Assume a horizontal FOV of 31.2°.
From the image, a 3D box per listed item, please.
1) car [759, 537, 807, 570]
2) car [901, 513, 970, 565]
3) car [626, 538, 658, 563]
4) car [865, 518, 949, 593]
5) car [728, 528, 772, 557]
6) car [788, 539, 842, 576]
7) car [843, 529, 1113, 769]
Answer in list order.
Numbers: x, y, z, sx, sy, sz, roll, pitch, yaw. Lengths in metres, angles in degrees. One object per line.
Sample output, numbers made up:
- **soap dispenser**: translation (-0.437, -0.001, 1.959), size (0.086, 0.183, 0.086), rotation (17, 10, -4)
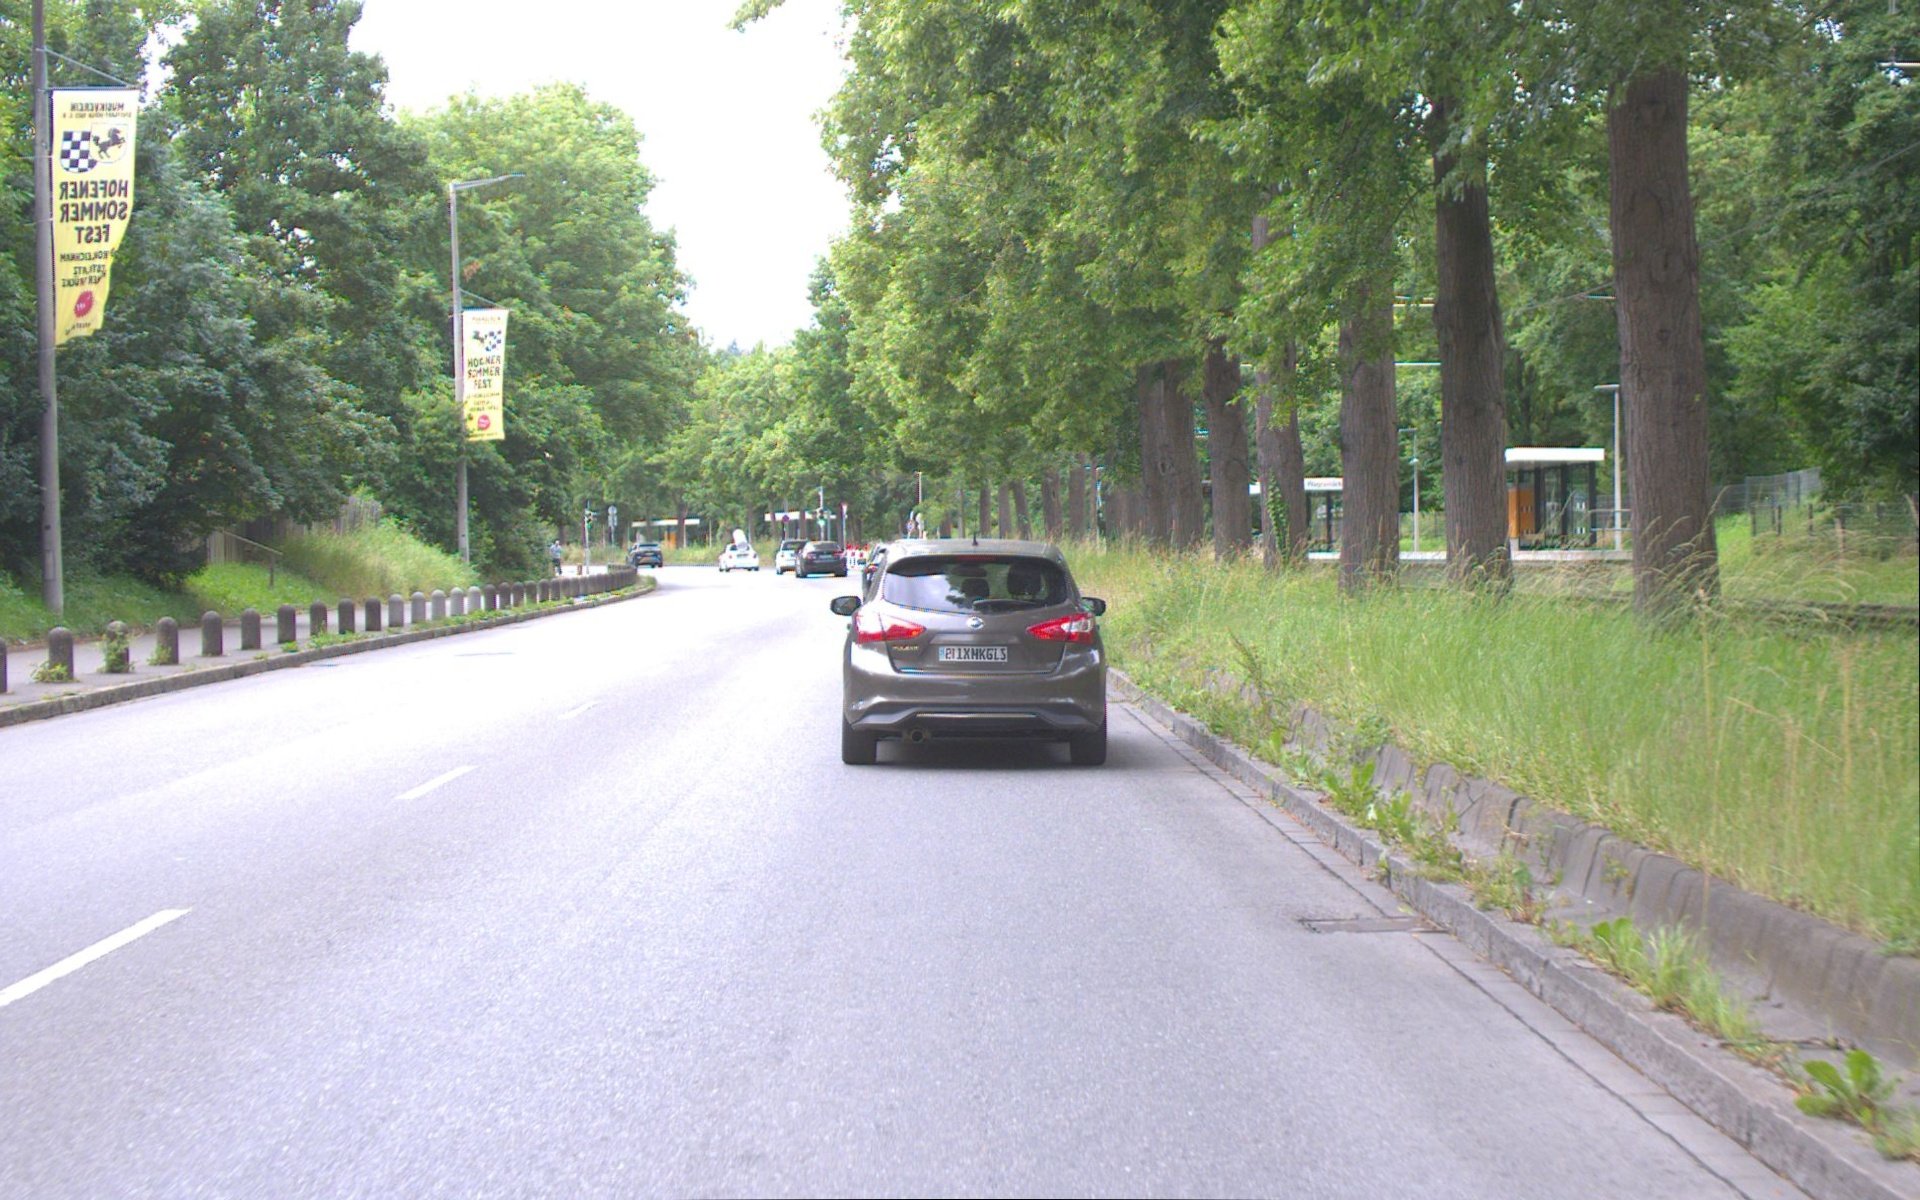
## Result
- **car**: translation (-7.935, -2.083, 153.909), size (1.561, 1.436, 3.553), rotation (0, 1, -12)
- **car**: translation (-0.716, -1.742, 98.198), size (1.561, 1.436, 3.552), rotation (1, 1, -7)
- **car**: translation (-19.367, -3.025, 209.407), size (1.561, 1.436, 3.553), rotation (0, 1, -11)
- **car**: translation (-1.141, -0.949, 72.777), size (1.730, 1.532, 3.552), rotation (1, 1, -1)
- **car**: translation (-10.752, -2.962, 175.702), size (1.561, 1.436, 3.553), rotation (0, 1, -15)
- **car**: translation (-5.839, -1.718, 138.165), size (1.561, 1.436, 3.553), rotation (0, 1, -12)
- **car**: translation (0.070, 0.282, 23.958), size (1.730, 1.532, 3.552), rotation (1, 1, -1)
